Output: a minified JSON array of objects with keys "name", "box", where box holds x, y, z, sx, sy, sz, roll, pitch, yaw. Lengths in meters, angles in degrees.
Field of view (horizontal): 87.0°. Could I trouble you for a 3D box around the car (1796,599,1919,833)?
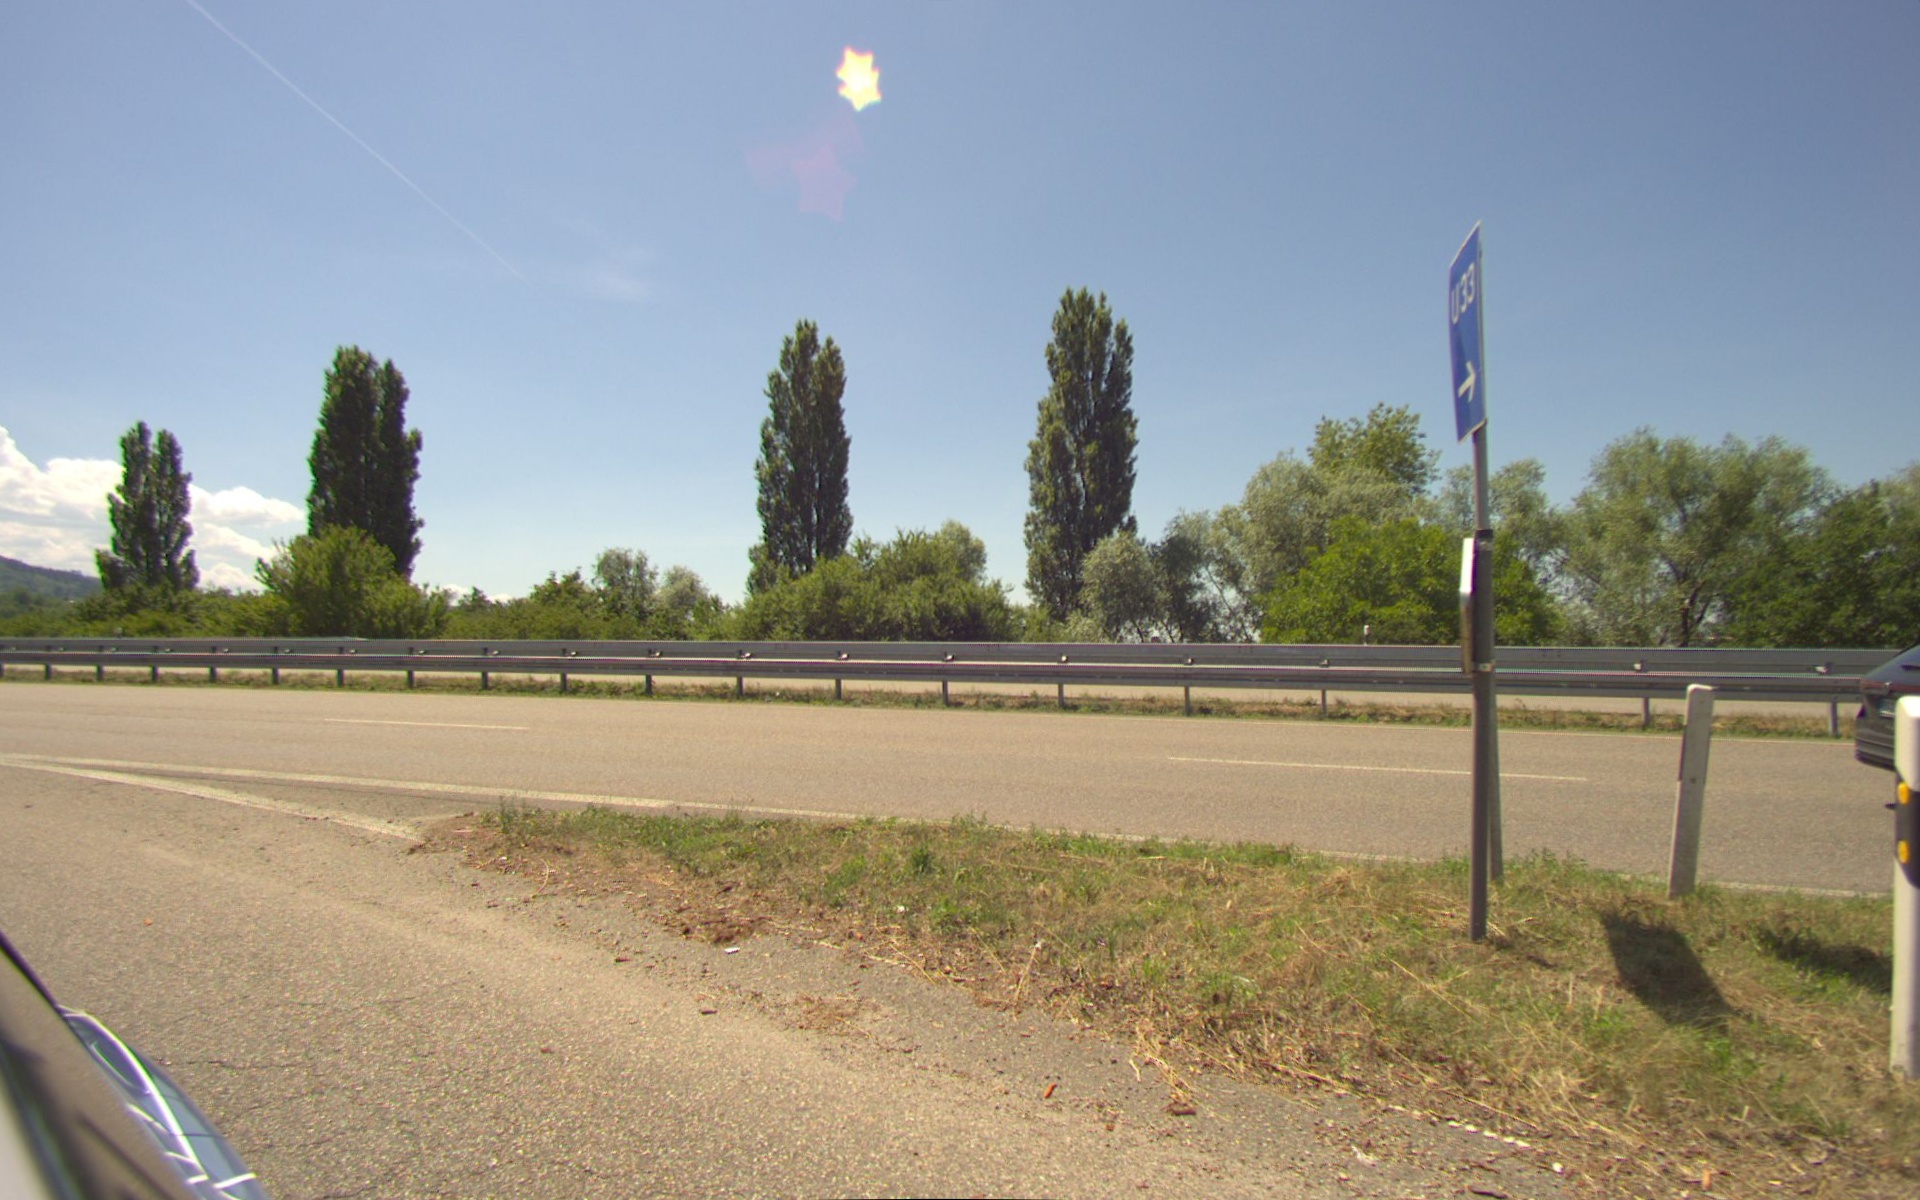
[{"name":"car","box":[8.696,0.720,6.304,4.968,1.492,1.878,-1,-1,21]}]
